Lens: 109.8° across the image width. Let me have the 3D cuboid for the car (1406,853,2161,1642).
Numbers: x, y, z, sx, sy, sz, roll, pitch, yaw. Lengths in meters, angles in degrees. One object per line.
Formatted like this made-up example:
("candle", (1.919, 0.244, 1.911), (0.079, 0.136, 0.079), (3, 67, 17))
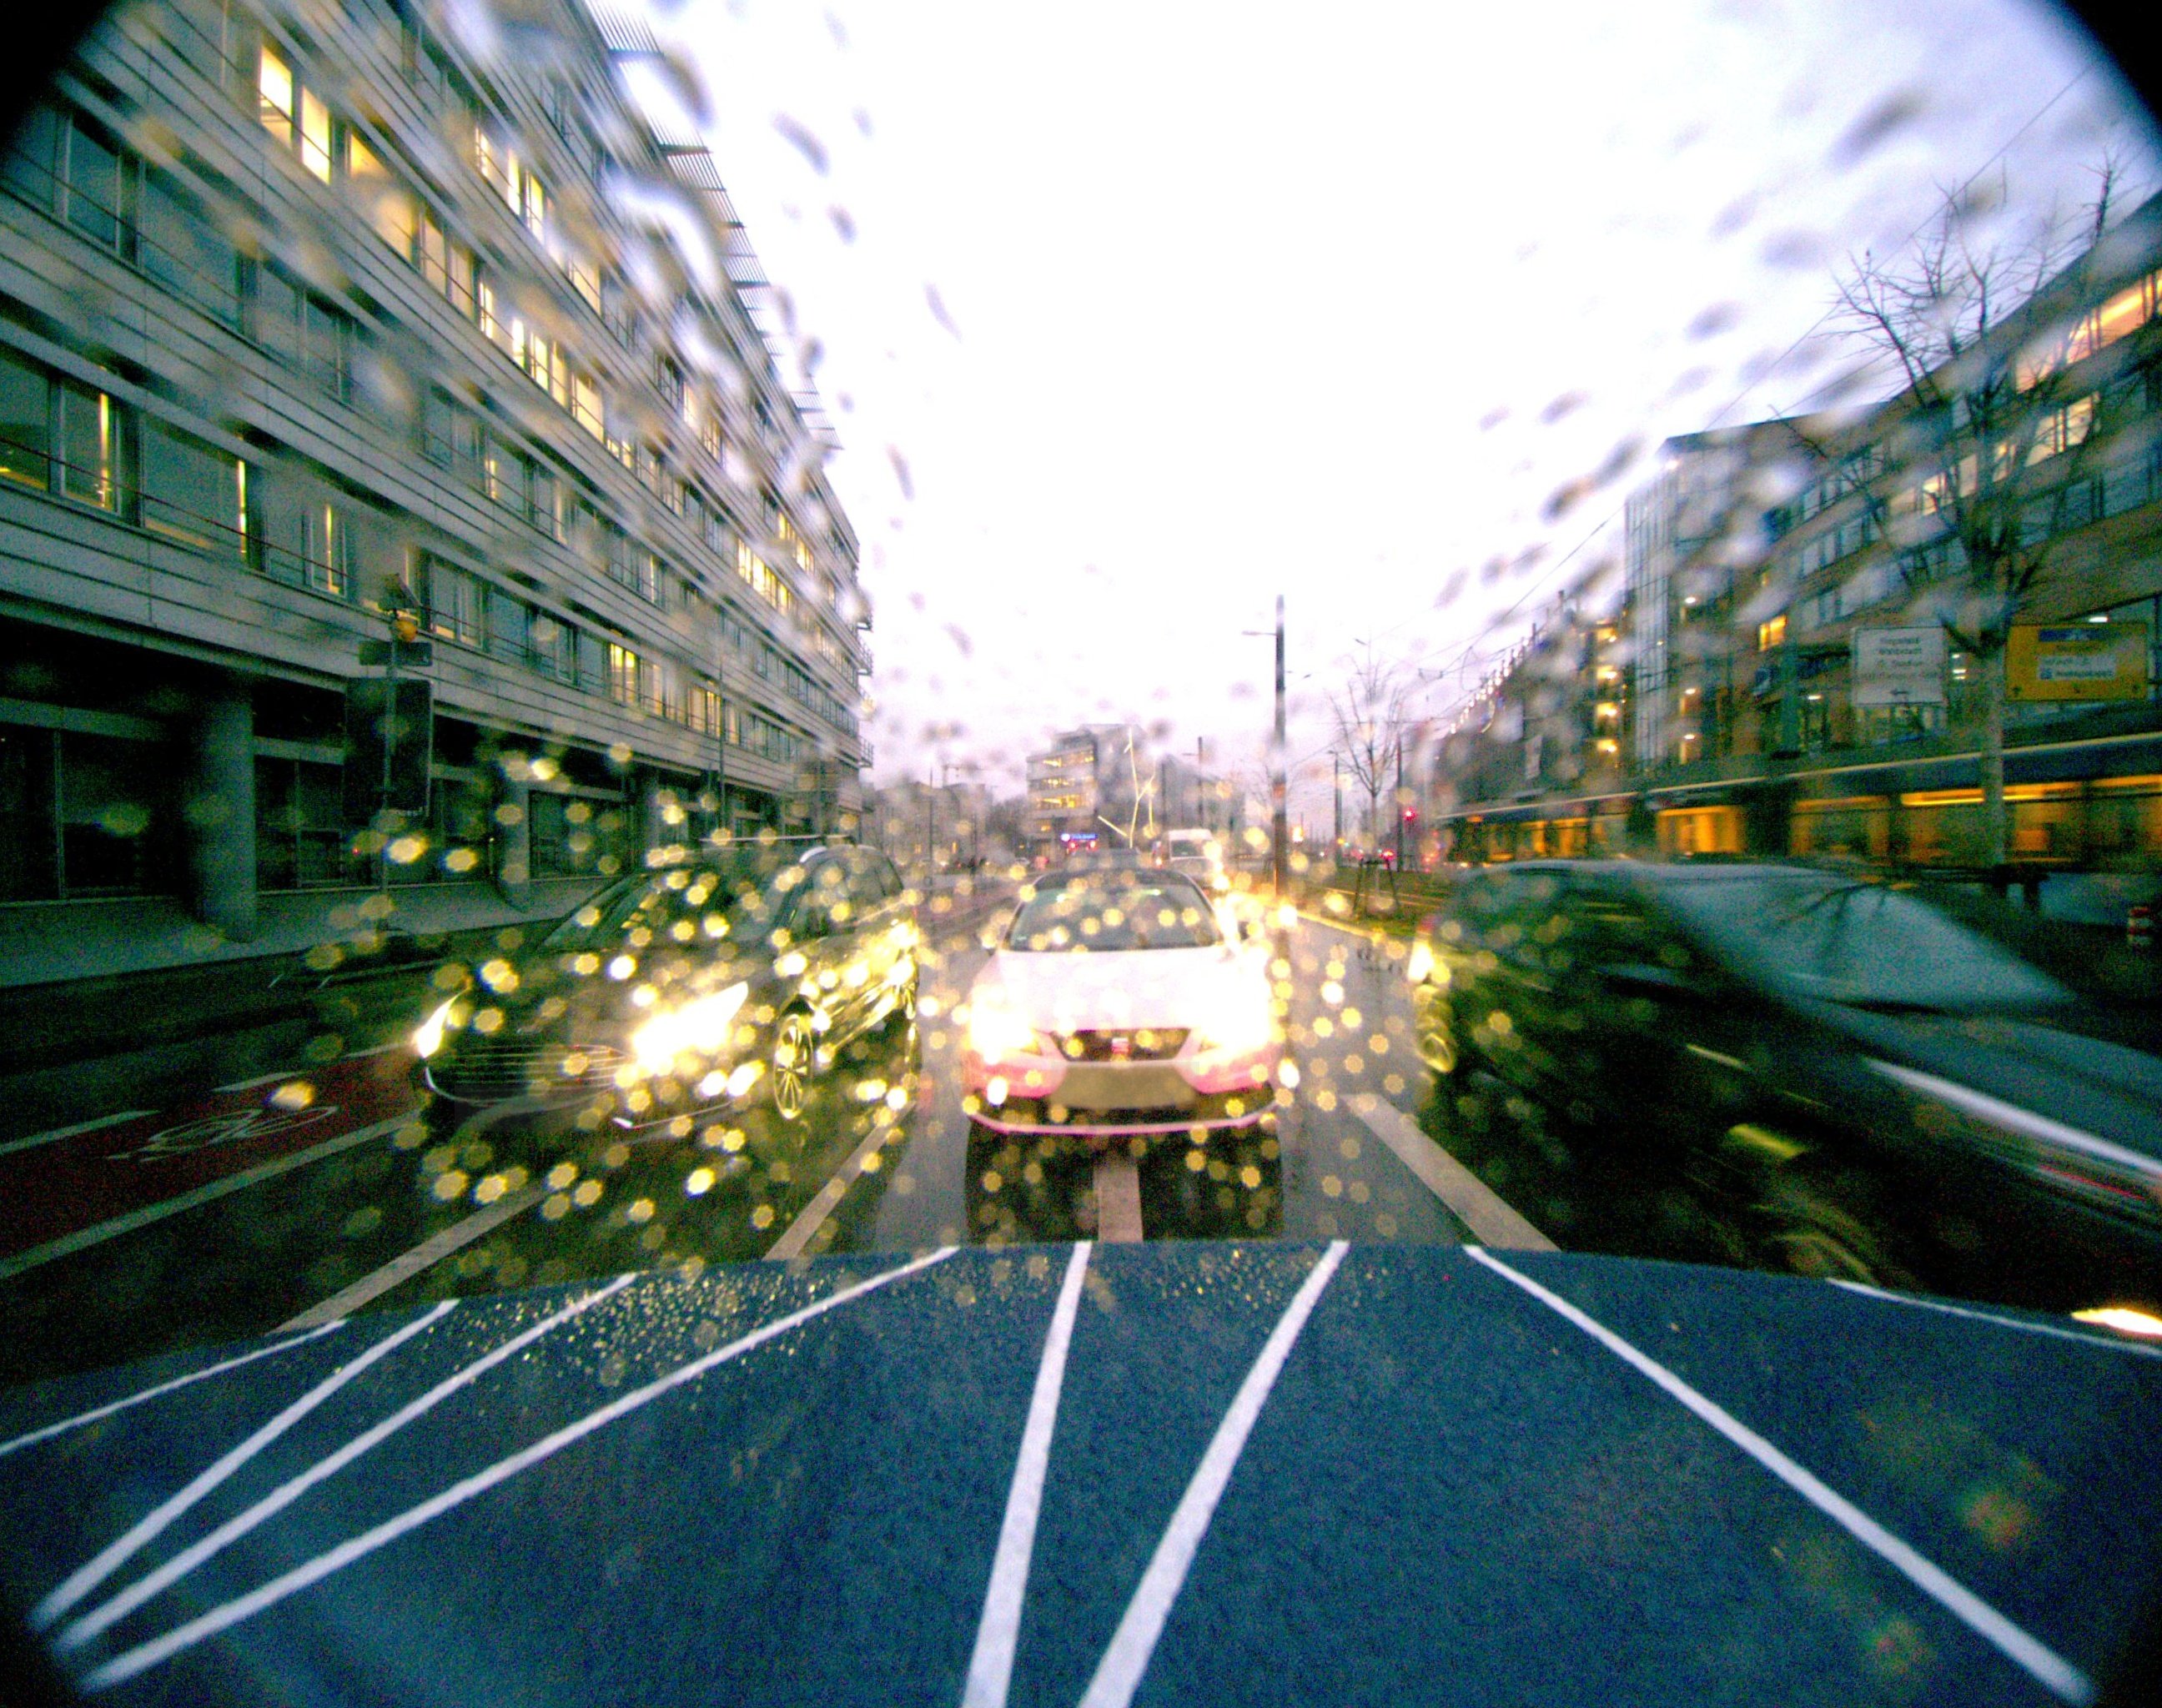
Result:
("car", (2.993, 0.786, 3.171), (1.634, 1.515, 3.941), (0, 1, 1))

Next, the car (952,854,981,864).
("car", (-16.923, 0.714, 112.228), (3.759, 1.528, 1.782), (-1, 0, 17))

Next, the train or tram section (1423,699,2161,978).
("train or tram section", (14.530, -0.262, 19.827), (2.871, 3.593, 20.072), (0, 0, 2))

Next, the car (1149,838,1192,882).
("car", (6.150, 0.383, 52.825), (2.129, 2.847, 5.812), (-1, 0, -1))

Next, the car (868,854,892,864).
("car", (-35.529, 0.917, 134.231), (3.725, 1.796, 1.796), (-1, 0, 18))

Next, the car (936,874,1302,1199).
("car", (0.214, 0.955, 5.709), (1.782, 1.464, 3.943), (-1, 0, 1))

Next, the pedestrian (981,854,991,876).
("pedestrian", (-7.258, 0.824, 58.259), (0.651, 1.692, 0.884), (1, 1, -3))

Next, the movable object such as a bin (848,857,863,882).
("movable object such as a bin", (-13.413, 0.923, 45.214), (0.666, 1.468, 0.840), (-1, 1, -2))

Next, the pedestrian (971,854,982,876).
("pedestrian", (-8.093, 0.857, 58.754), (0.747, 1.692, 0.969), (2, 1, -3))

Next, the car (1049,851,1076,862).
("car", (-2.980, 0.432, 123.379), (4.021, 1.645, 1.905), (-1, 0, 17))

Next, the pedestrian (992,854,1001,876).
("pedestrian", (-6.526, 0.829, 58.405), (0.616, 1.659, 0.884), (1, 1, -3))

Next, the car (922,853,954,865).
("car", (-21.400, 0.712, 113.716), (4.368, 1.750, 2.002), (-1, 1, 17))

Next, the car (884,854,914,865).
("car", (-27.839, 0.836, 116.076), (3.996, 1.663, 2.002), (-1, 1, 17))

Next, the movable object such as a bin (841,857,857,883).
("movable object such as a bin", (-13.254, 0.905, 43.388), (0.666, 1.420, 0.840), (-1, 1, -2))

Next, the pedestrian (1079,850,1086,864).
("pedestrian", (0.180, 0.368, 95.037), (0.892, 1.783, 0.668), (0, 1, 8))

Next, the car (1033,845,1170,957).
("car", (0.354, 0.758, 14.677), (2.169, 1.744, 4.541), (-2, 0, 0))

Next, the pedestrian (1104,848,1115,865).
("pedestrian", (3.367, 0.324, 88.964), (1.118, 2.002, 1.034), (0, 1, 15))

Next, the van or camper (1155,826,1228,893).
("van or camper", (4.524, 0.206, 31.949), (2.153, 2.517, 5.898), (-1, 0, 0))

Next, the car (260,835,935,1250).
("car", (-2.610, 0.841, 5.713), (1.887, 1.800, 4.671), (-2, 0, 2))

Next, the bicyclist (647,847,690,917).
("bicyclist", (-10.814, 0.718, 19.947), (0.671, 1.788, 0.806), (0, 1, -3))

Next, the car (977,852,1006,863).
("car", (-13.019, 0.559, 110.687), (3.759, 1.528, 1.782), (-1, 0, 17))

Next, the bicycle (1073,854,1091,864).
("bicycle", (0.136, 0.653, 95.047), (2.203, 1.182, 0.668), (0, 1, 8))

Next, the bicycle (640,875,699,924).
("bicycle", (-10.801, 1.172, 20.009), (0.681, 1.191, 1.760), (0, 1, -3))

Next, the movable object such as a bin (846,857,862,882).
("movable object such as a bin", (-13.249, 0.919, 44.284), (0.666, 1.420, 0.840), (-1, 1, -2))

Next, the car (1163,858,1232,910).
("car", (3.627, 0.890, 24.296), (1.759, 1.337, 4.056), (-1, 2, 3))

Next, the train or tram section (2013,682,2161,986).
("train or tram section", (14.354, -0.192, 0.788), (2.872, 3.593, 19.209), (0, 0, -1))

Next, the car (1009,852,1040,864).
("car", (-8.134, 0.529, 109.494), (3.918, 1.699, 1.782), (-1, 1, 15))
